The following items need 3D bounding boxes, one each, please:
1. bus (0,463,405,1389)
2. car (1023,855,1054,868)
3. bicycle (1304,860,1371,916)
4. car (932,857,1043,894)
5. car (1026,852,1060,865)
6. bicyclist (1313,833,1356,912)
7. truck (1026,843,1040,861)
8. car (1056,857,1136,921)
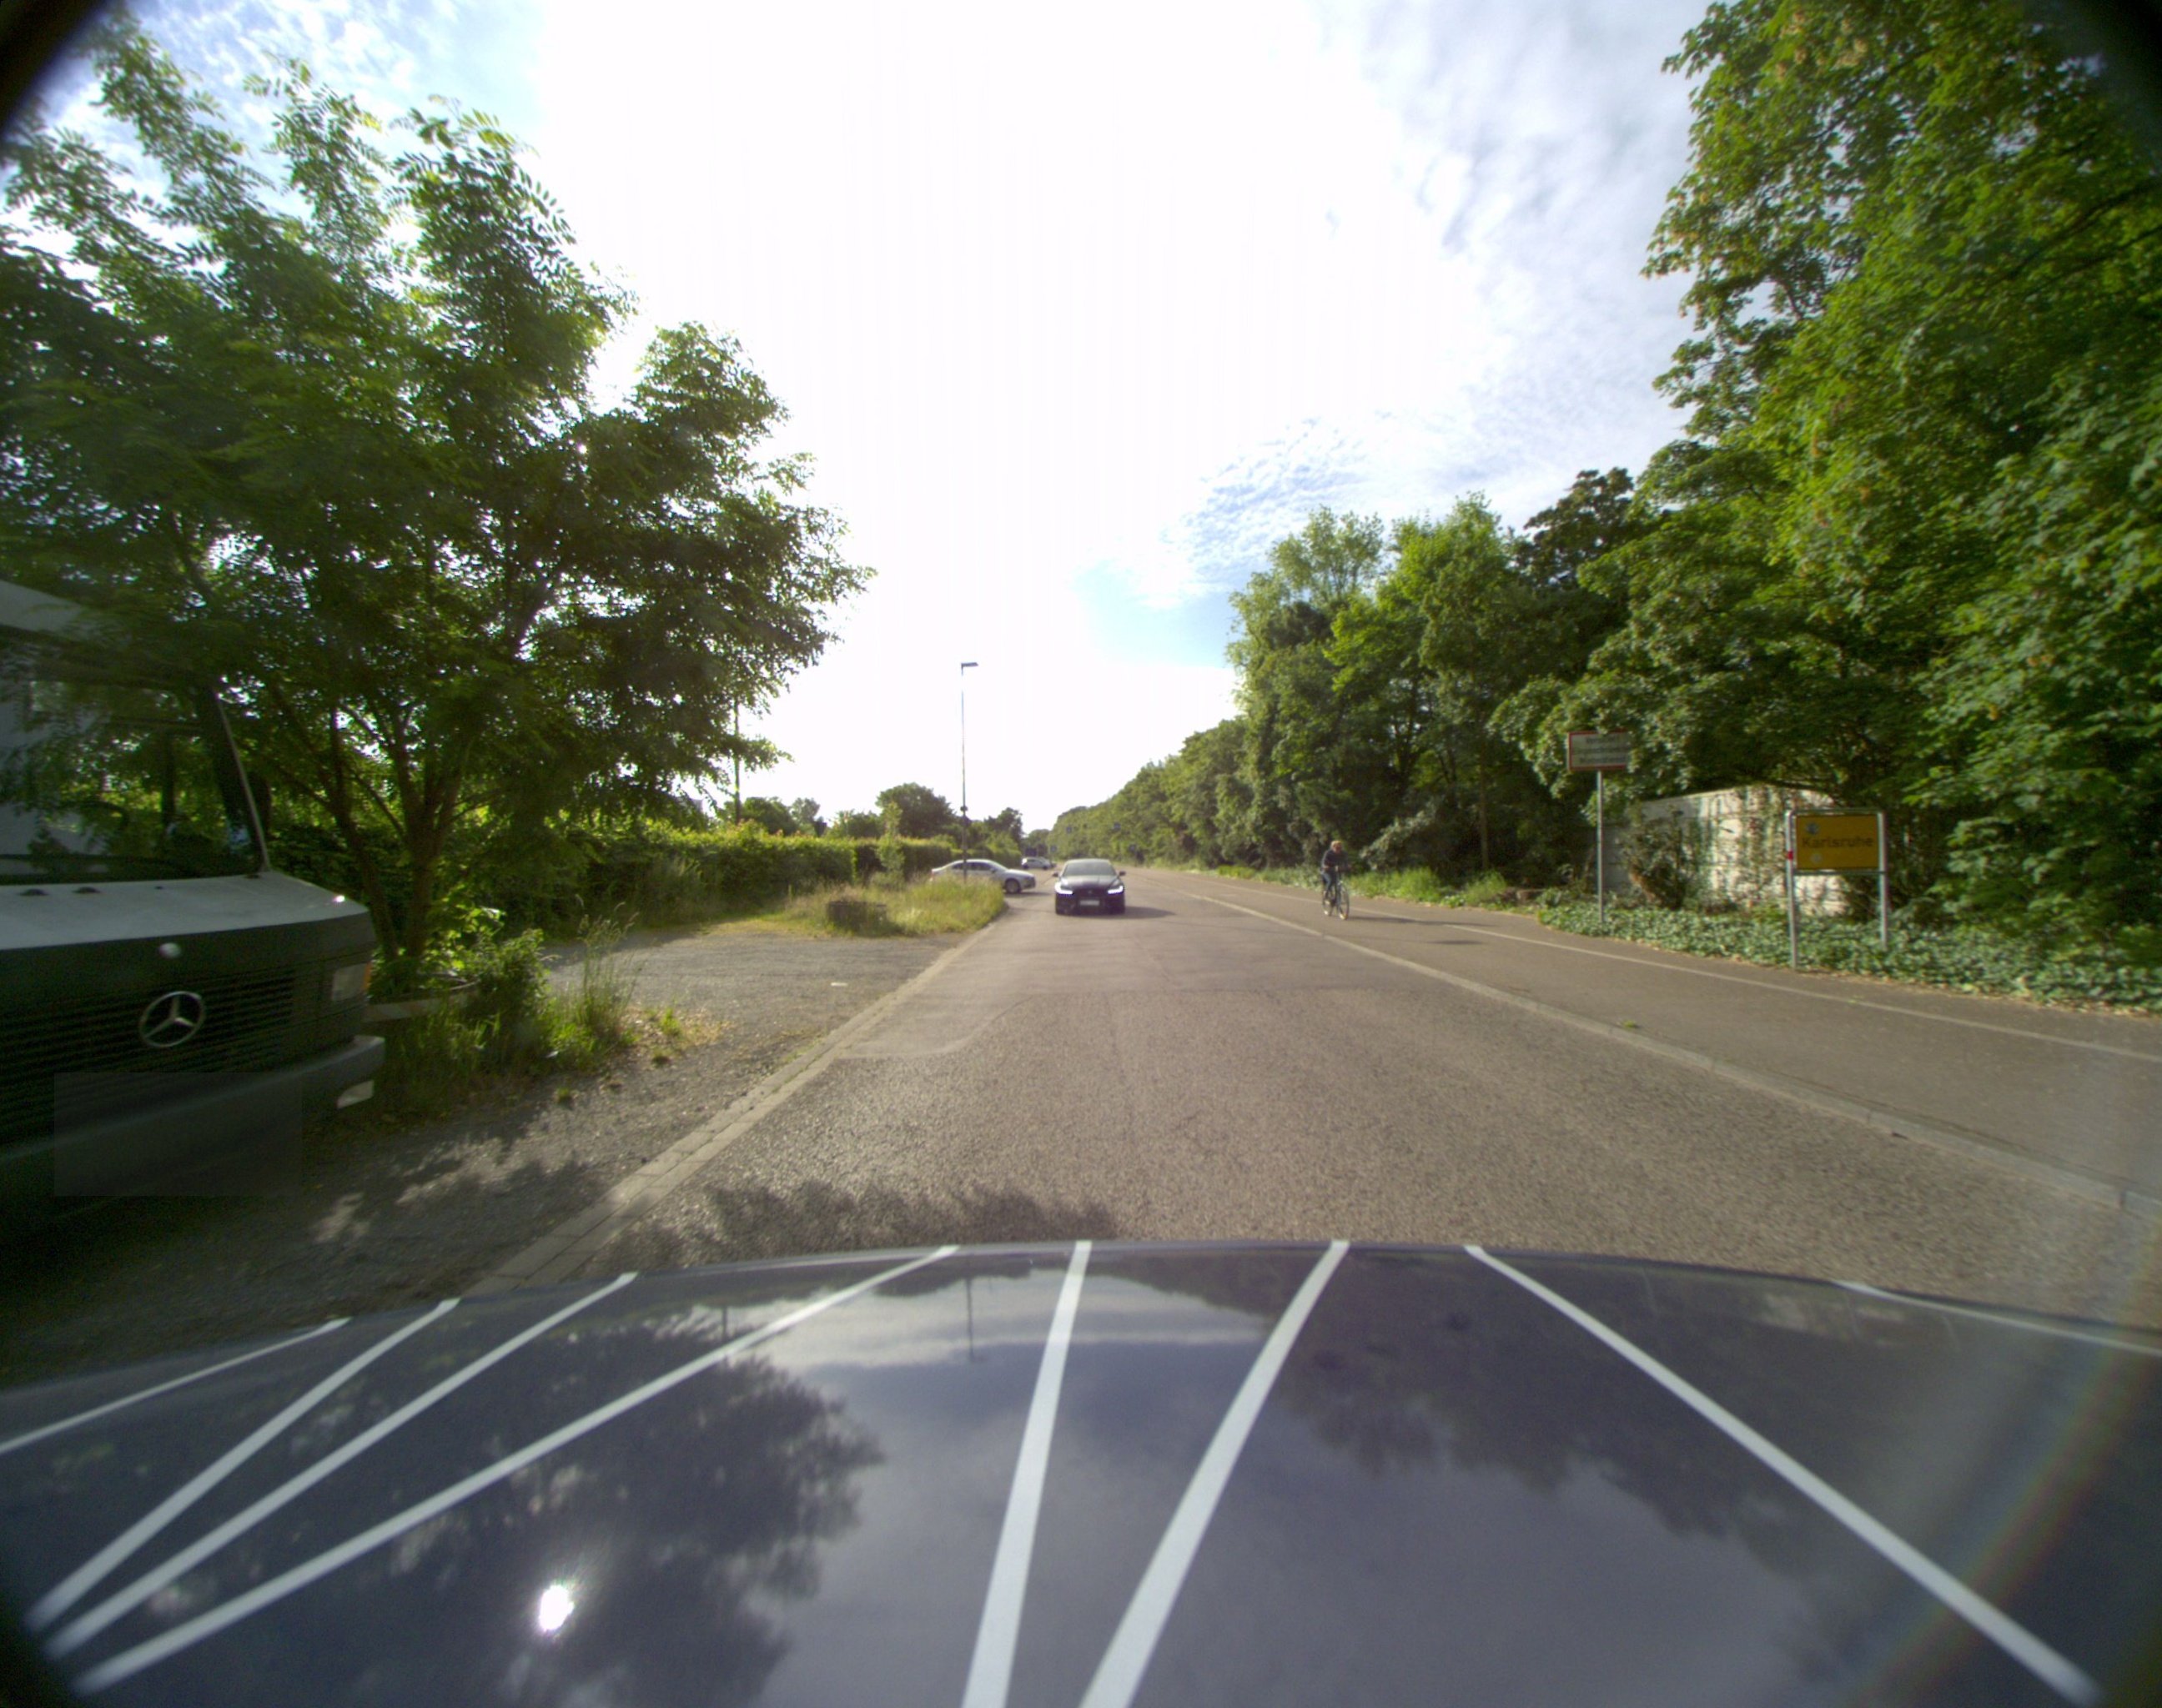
[{"bbox_3d":[-5.888,0.187,2.470,5.380,2.730,2.068,1,0,-3],"label":"bus"},{"bbox_3d":[-5.445,0.951,97.561,3.867,1.481,1.692,3,-1,-1],"label":"car"},{"bbox_3d":[5.552,0.694,16.611,0.664,1.091,2.348,-2,1,1],"label":"bicycle"},{"bbox_3d":[-3.921,0.884,32.333,4.370,1.435,1.933,1,1,6],"label":"car"},{"bbox_3d":[-5.395,0.606,108.268,4.599,1.689,1.763,1,1,0],"label":"car"},{"bbox_3d":[5.550,0.400,16.689,0.610,1.667,0.883,-2,1,0],"label":"bicyclist"},{"bbox_3d":[-11.270,-0.422,177.693,2.604,3.935,6.279,3,-1,-8],"label":"truck"},{"bbox_3d":[0.319,0.865,20.852,1.936,1.501,4.679,-1,0,-1],"label":"car"}]
